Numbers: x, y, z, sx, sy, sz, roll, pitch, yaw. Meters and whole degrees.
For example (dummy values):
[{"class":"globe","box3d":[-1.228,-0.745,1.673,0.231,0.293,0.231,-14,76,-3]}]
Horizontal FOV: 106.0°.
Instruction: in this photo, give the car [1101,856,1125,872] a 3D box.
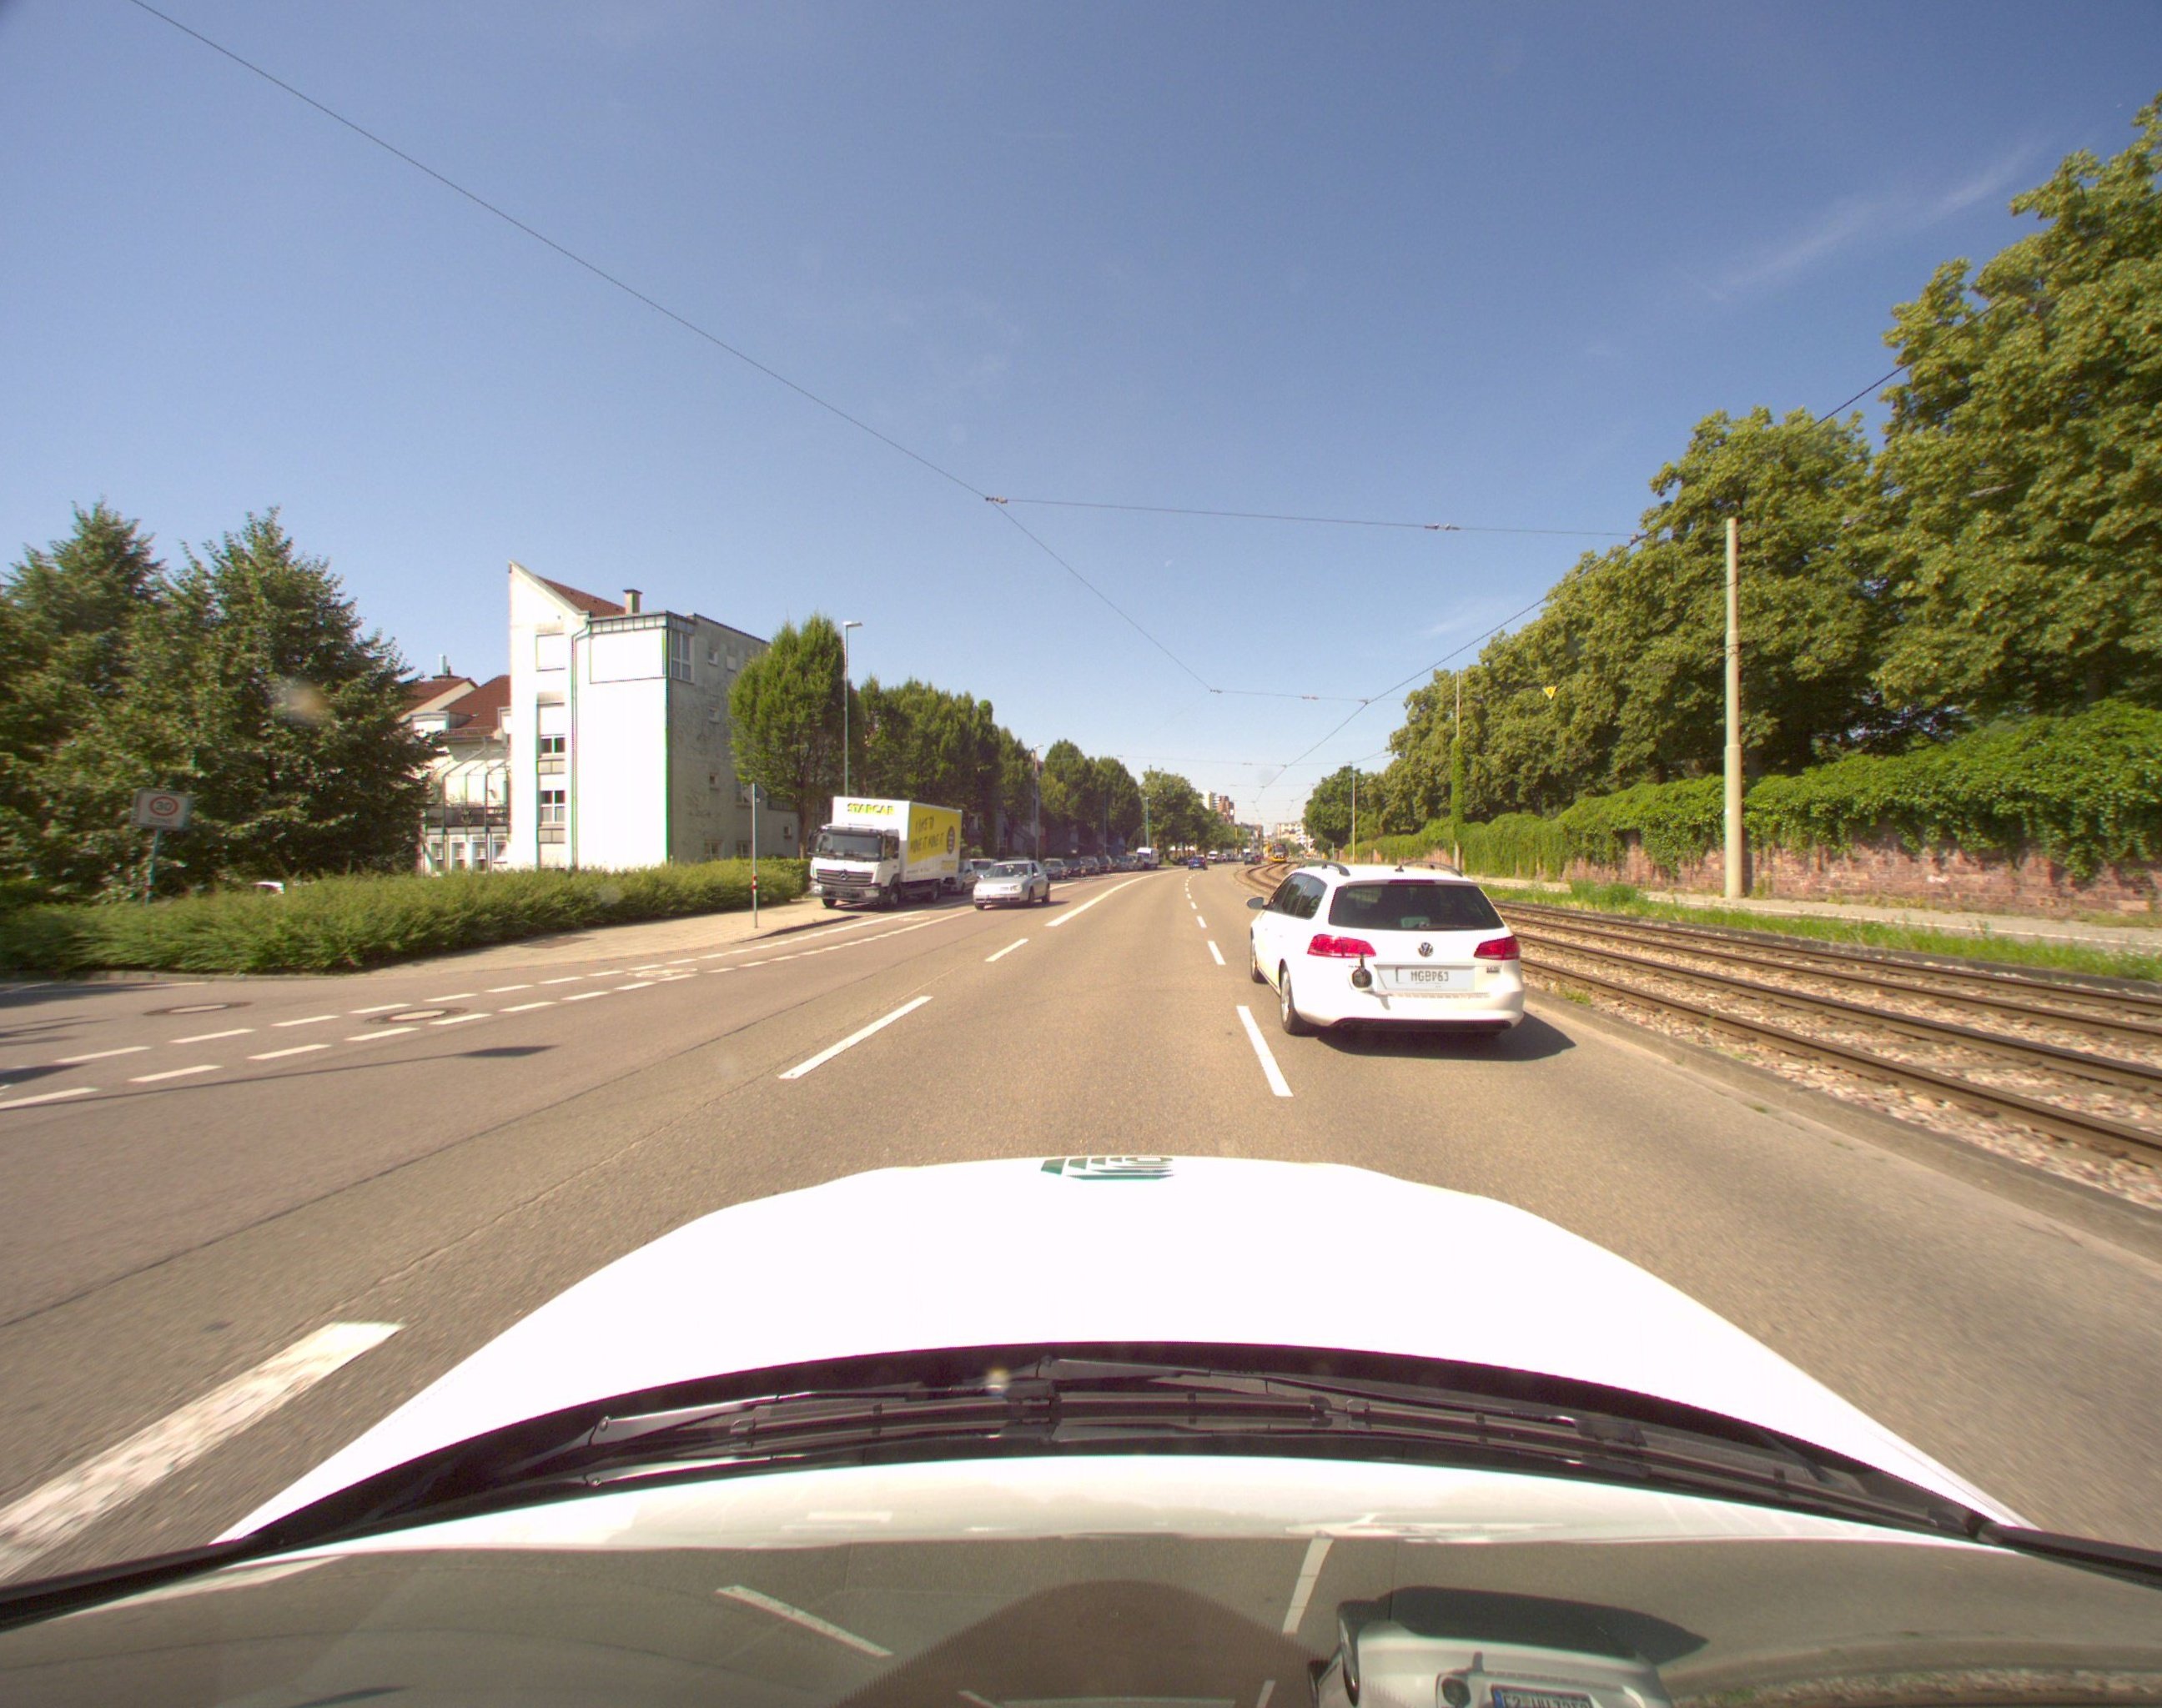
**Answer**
[{"class":"car","box3d":[3.238,0.982,82.157,1.679,1.474,4.062,2,0,13]}]

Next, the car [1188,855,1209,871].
[{"class":"car","box3d":[12.165,0.884,84.219,1.787,1.507,4.016,0,1,14]}]

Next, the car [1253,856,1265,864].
[{"class":"car","box3d":[30.384,1.027,138.882,1.787,1.460,4.016,-1,0,14]}]

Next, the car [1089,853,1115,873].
[{"class":"car","box3d":[2.024,0.836,76.790,1.758,1.723,4.884,1,0,10]}]

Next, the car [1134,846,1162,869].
[{"class":"car","box3d":[8.357,0.458,100.765,1.979,2.714,7.187,2,0,16]}]

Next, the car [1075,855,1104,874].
[{"class":"car","box3d":[0.764,0.875,71.371,1.706,1.625,4.326,1,0,11]}]

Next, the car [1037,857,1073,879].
[{"class":"car","box3d":[-1.852,0.997,59.121,1.770,1.483,4.868,1,0,8]}]

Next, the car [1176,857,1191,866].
[{"class":"car","box3d":[16.389,1.185,130.123,1.686,1.417,4.019,-1,0,18]}]

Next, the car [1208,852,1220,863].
[{"class":"car","box3d":[28.761,0.781,175.821,1.865,2.415,5.140,-1,0,18]}]

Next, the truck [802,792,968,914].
[{"class":"truck","box3d":[-6.389,-0.046,28.278,2.652,3.530,8.607,1,0,7]}]

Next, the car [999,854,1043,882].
[{"class":"car","box3d":[-3.529,0.811,48.396,1.721,1.552,4.328,0,0,8]}]

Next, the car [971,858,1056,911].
[{"class":"car","box3d":[-2.024,0.897,25.651,1.649,1.420,4.320,-3,-1,8]}]

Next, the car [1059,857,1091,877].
[{"class":"car","box3d":[-0.467,1.032,65.494,1.712,1.474,4.727,1,0,10]}]

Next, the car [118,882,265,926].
[{"class":"car","box3d":[-26.899,1.488,24.656,3.622,1.205,1.582,-1,0,17]}]

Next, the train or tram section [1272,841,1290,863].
[{"class":"train or tram section","box3d":[36.901,-0.382,149.671,2.492,3.747,13.368,-1,0,17]}]

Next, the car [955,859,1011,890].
[{"class":"car","box3d":[-4.771,0.970,40.312,1.748,1.429,4.290,1,0,7]}]

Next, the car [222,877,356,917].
[{"class":"car","box3d":[-26.088,1.418,26.836,3.622,1.205,1.582,-1,0,17]}]

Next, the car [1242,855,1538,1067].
[{"class":"car","box3d":[2.656,0.764,8.104,1.683,1.451,4.466,0,1,6]}]

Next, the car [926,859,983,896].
[{"class":"car","box3d":[-5.432,0.973,35.350,1.602,1.484,3.641,1,0,5]}]

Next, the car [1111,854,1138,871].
[{"class":"car","box3d":[4.712,0.899,87.133,1.787,1.724,4.930,2,0,16]}]

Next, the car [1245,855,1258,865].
[{"class":"car","box3d":[26.213,0.959,125.398,1.787,1.507,4.016,0,0,14]}]

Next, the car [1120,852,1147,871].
[{"class":"car","box3d":[6.015,0.830,92.657,1.905,1.948,5.375,2,0,15]}]
